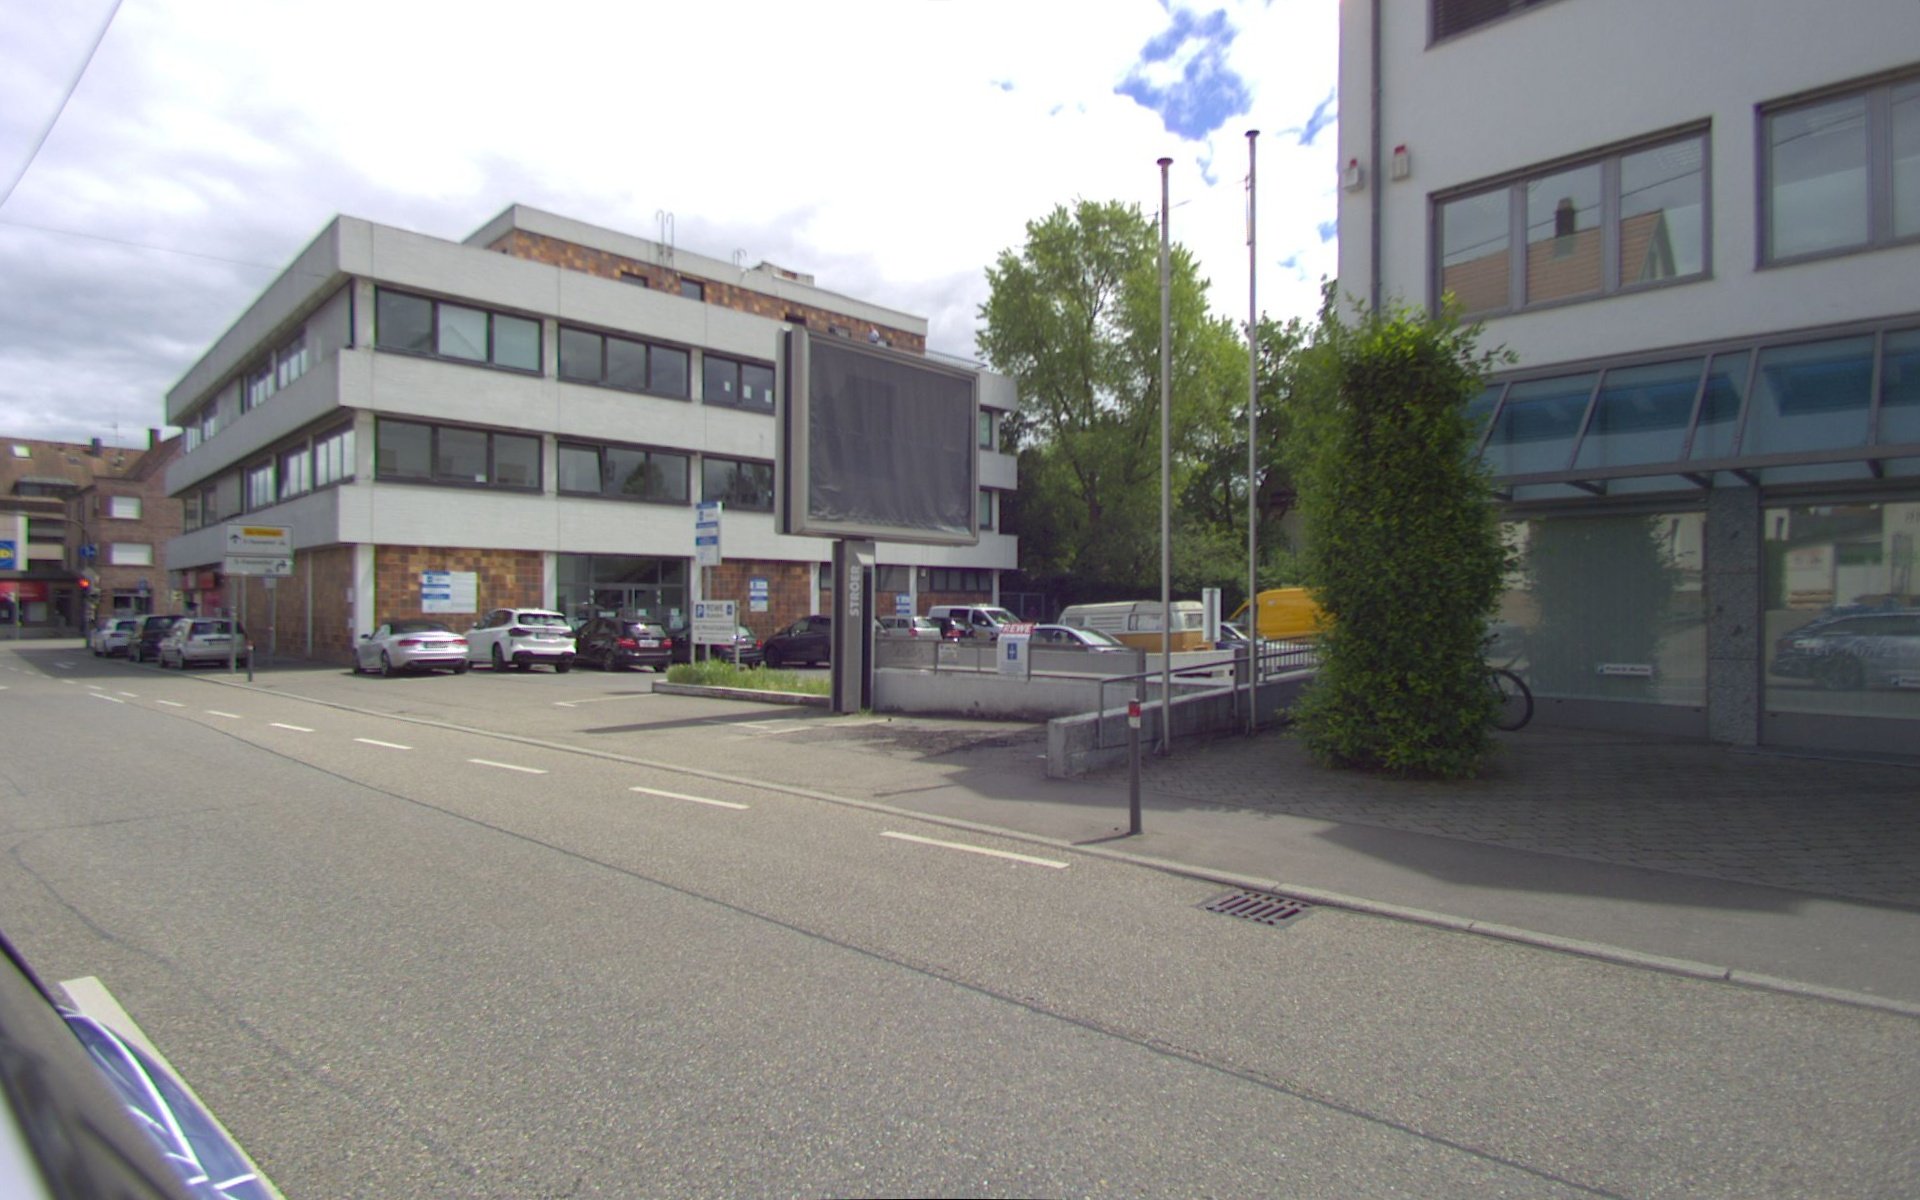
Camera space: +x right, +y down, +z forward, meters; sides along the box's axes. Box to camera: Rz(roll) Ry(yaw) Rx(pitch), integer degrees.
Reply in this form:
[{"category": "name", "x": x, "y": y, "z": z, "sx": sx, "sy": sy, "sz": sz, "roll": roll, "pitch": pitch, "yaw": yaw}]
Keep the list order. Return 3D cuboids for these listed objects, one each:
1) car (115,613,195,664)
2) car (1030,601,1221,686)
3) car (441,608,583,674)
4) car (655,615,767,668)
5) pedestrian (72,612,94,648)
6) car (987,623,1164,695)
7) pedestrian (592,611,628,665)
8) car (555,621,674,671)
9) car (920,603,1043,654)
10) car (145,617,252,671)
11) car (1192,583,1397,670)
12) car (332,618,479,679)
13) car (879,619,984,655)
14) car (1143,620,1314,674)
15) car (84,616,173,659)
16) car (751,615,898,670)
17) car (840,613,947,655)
[{"category": "car", "x": -27.030, "y": 1.262, "z": 33.960, "sx": 3.057, "sy": 1.567, "sz": 1.717, "roll": -1, "pitch": 0, "yaw": 44}, {"category": "car", "x": 4.153, "y": 1.058, "z": 26.016, "sx": 4.649, "sy": 2.004, "sz": 1.817, "roll": -1, "pitch": -1, "yaw": 44}, {"category": "car", "x": -12.183, "y": 1.120, "z": 27.349, "sx": 1.928, "sy": 1.632, "sz": 4.934, "roll": 4, "pitch": -4, "yaw": -43}, {"category": "car", "x": -7.829, "y": 1.258, "z": 31.690, "sx": 3.604, "sy": 1.558, "sz": 1.744, "roll": -1, "pitch": -2, "yaw": 43}, {"category": "pedestrian", "x": -40.552, "y": 1.388, "z": 46.788, "sx": 0.682, "sy": 1.657, "sz": 0.709, "roll": -1, "pitch": 0, "yaw": 45}, {"category": "car", "x": 2.671, "y": 1.318, "z": 23.763, "sx": 3.751, "sy": 1.541, "sz": 1.794, "roll": -1, "pitch": -1, "yaw": 38}, {"category": "pedestrian", "x": -11.148, "y": 1.201, "z": 32.230, "sx": 0.709, "sy": 1.684, "sz": 0.996, "roll": 3, "pitch": -3, "yaw": -44}, {"category": "car", "x": -10.002, "y": 1.282, "z": 29.168, "sx": 3.604, "sy": 1.341, "sz": 1.744, "roll": -1, "pitch": -2, "yaw": 43}, {"category": "car", "x": 0.797, "y": 1.120, "z": 40.805, "sx": 1.945, "sy": 1.956, "sz": 5.092, "roll": 1, "pitch": -1, "yaw": -44}, {"category": "car", "x": -22.363, "y": 1.236, "z": 29.666, "sx": 4.146, "sy": 1.433, "sz": 1.704, "roll": -1, "pitch": 0, "yaw": 41}, {"category": "car", "x": 10.632, "y": 0.844, "z": 32.532, "sx": 5.978, "sy": 2.549, "sz": 2.039, "roll": -1, "pitch": -3, "yaw": 43}, {"category": "car", "x": -14.078, "y": 1.159, "z": 25.556, "sx": 4.857, "sy": 1.368, "sz": 1.929, "roll": -1, "pitch": -1, "yaw": 44}, {"category": "car", "x": -1.129, "y": 1.389, "z": 39.027, "sx": 1.825, "sy": 1.304, "sz": 4.003, "roll": 1, "pitch": -2, "yaw": -44}, {"category": "car", "x": 7.700, "y": 1.316, "z": 29.336, "sx": 1.791, "sy": 1.449, "sz": 4.510, "roll": 3, "pitch": -3, "yaw": -45}, {"category": "car", "x": -31.214, "y": 1.371, "z": 37.934, "sx": 4.953, "sy": 1.455, "sz": 2.022, "roll": -1, "pitch": 0, "yaw": 44}, {"category": "car", "x": -4.237, "y": 1.289, "z": 31.283, "sx": 4.489, "sy": 1.590, "sz": 1.904, "roll": -2, "pitch": -2, "yaw": 37}, {"category": "car", "x": -2.502, "y": 1.241, "z": 37.463, "sx": 1.825, "sy": 1.472, "sz": 4.003, "roll": 1, "pitch": -2, "yaw": -44}]
